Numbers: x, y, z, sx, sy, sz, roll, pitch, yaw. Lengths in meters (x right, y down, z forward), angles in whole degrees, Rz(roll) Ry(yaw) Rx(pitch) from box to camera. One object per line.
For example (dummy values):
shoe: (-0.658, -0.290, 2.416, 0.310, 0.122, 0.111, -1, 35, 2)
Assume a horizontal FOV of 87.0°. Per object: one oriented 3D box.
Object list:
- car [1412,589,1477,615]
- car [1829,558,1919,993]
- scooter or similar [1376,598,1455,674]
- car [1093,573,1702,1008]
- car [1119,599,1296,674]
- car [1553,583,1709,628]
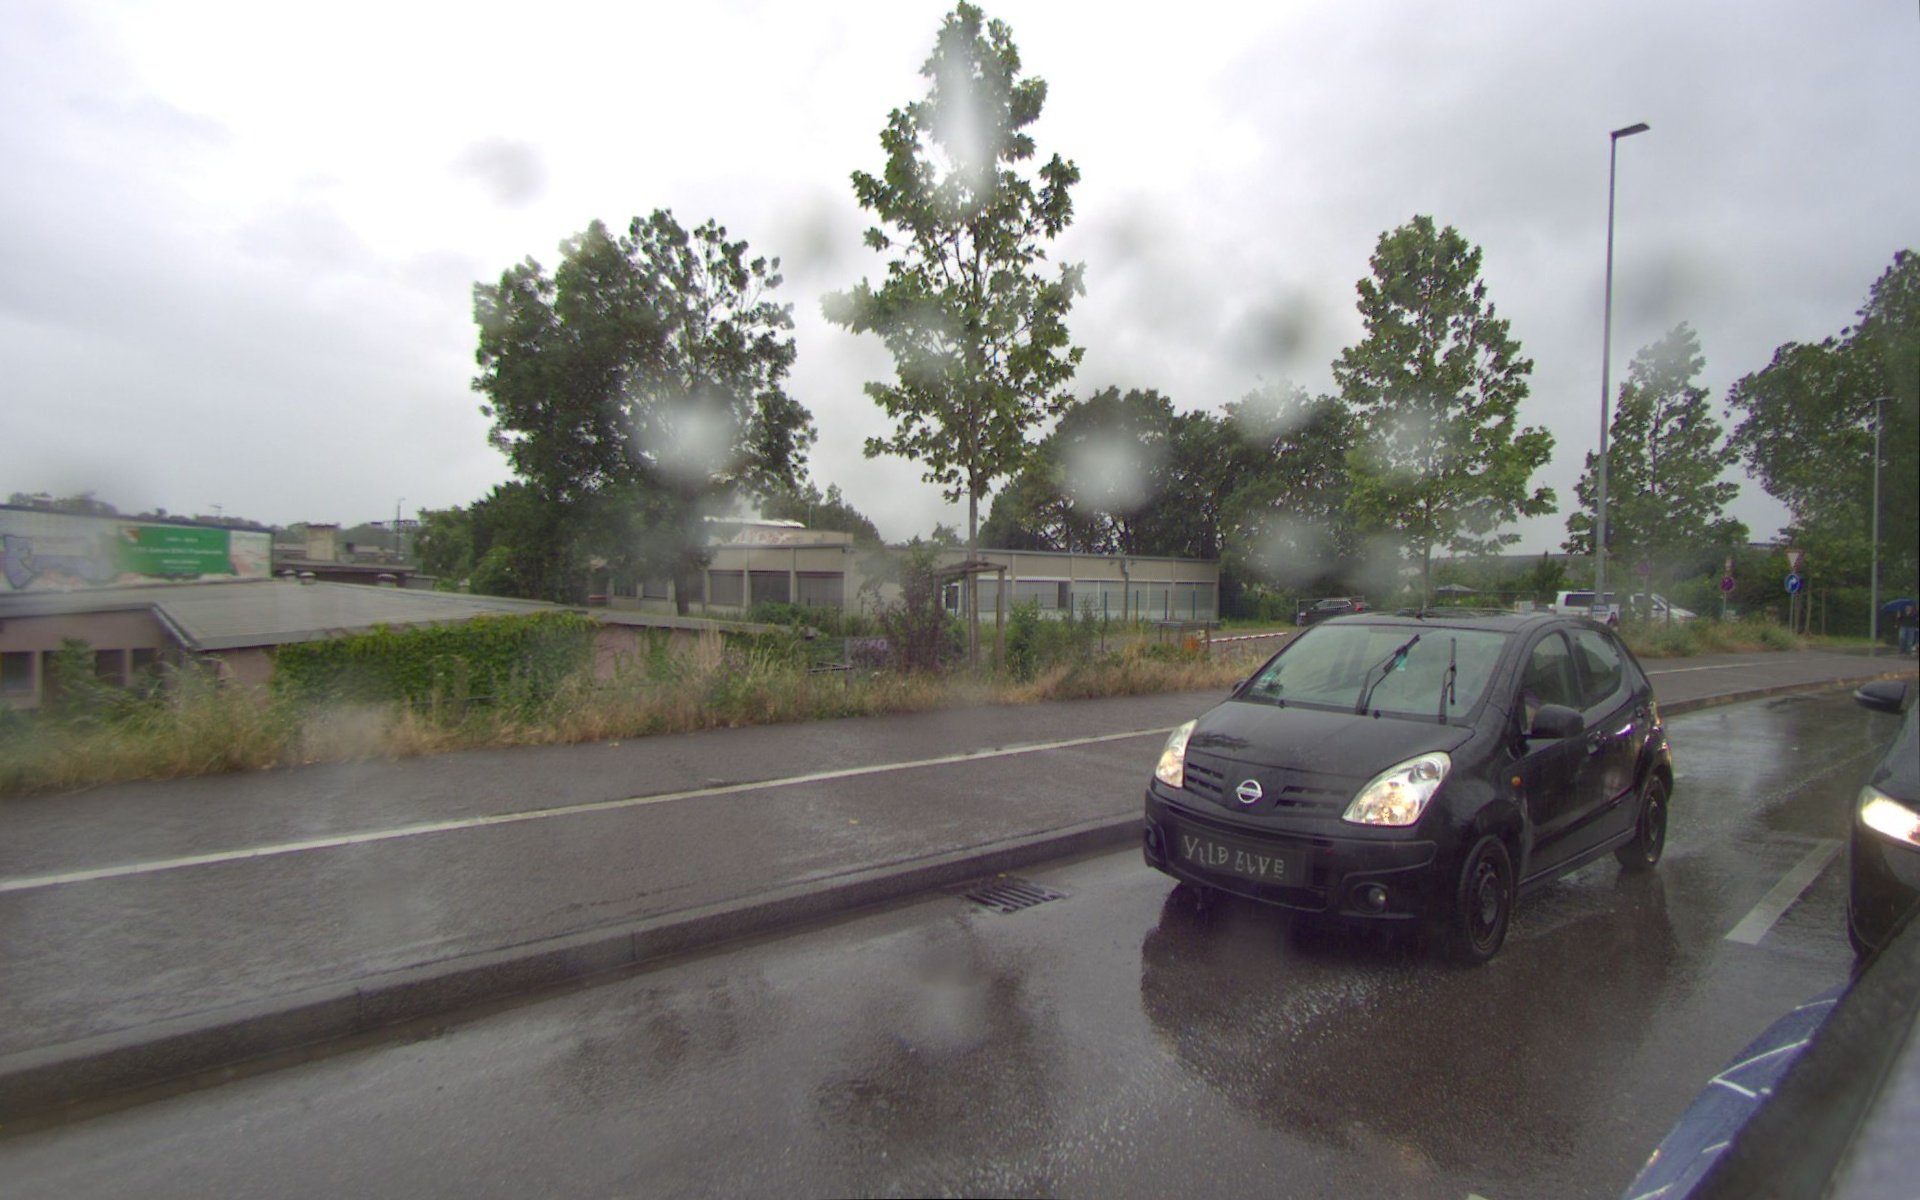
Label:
car: (30.936, 0.136, 64.682, 1.319, 1.604, 3.555, 0, 0, -35)
car: (5.554, 0.671, 4.402, 4.089, 1.601, 1.760, 1, 0, -35)
scooter or similar: (7.671, 0.580, 17.005, 1.877, 1.214, 0.367, 0, 0, -38)
car: (2.474, 0.670, 5.319, 3.554, 1.528, 1.556, 0, 0, -41)
car: (4.690, 0.639, 19.489, 1.319, 1.304, 3.246, 0, 0, -35)
car: (28.120, 0.220, 42.546, 1.972, 1.747, 5.168, 0, 0, -42)
